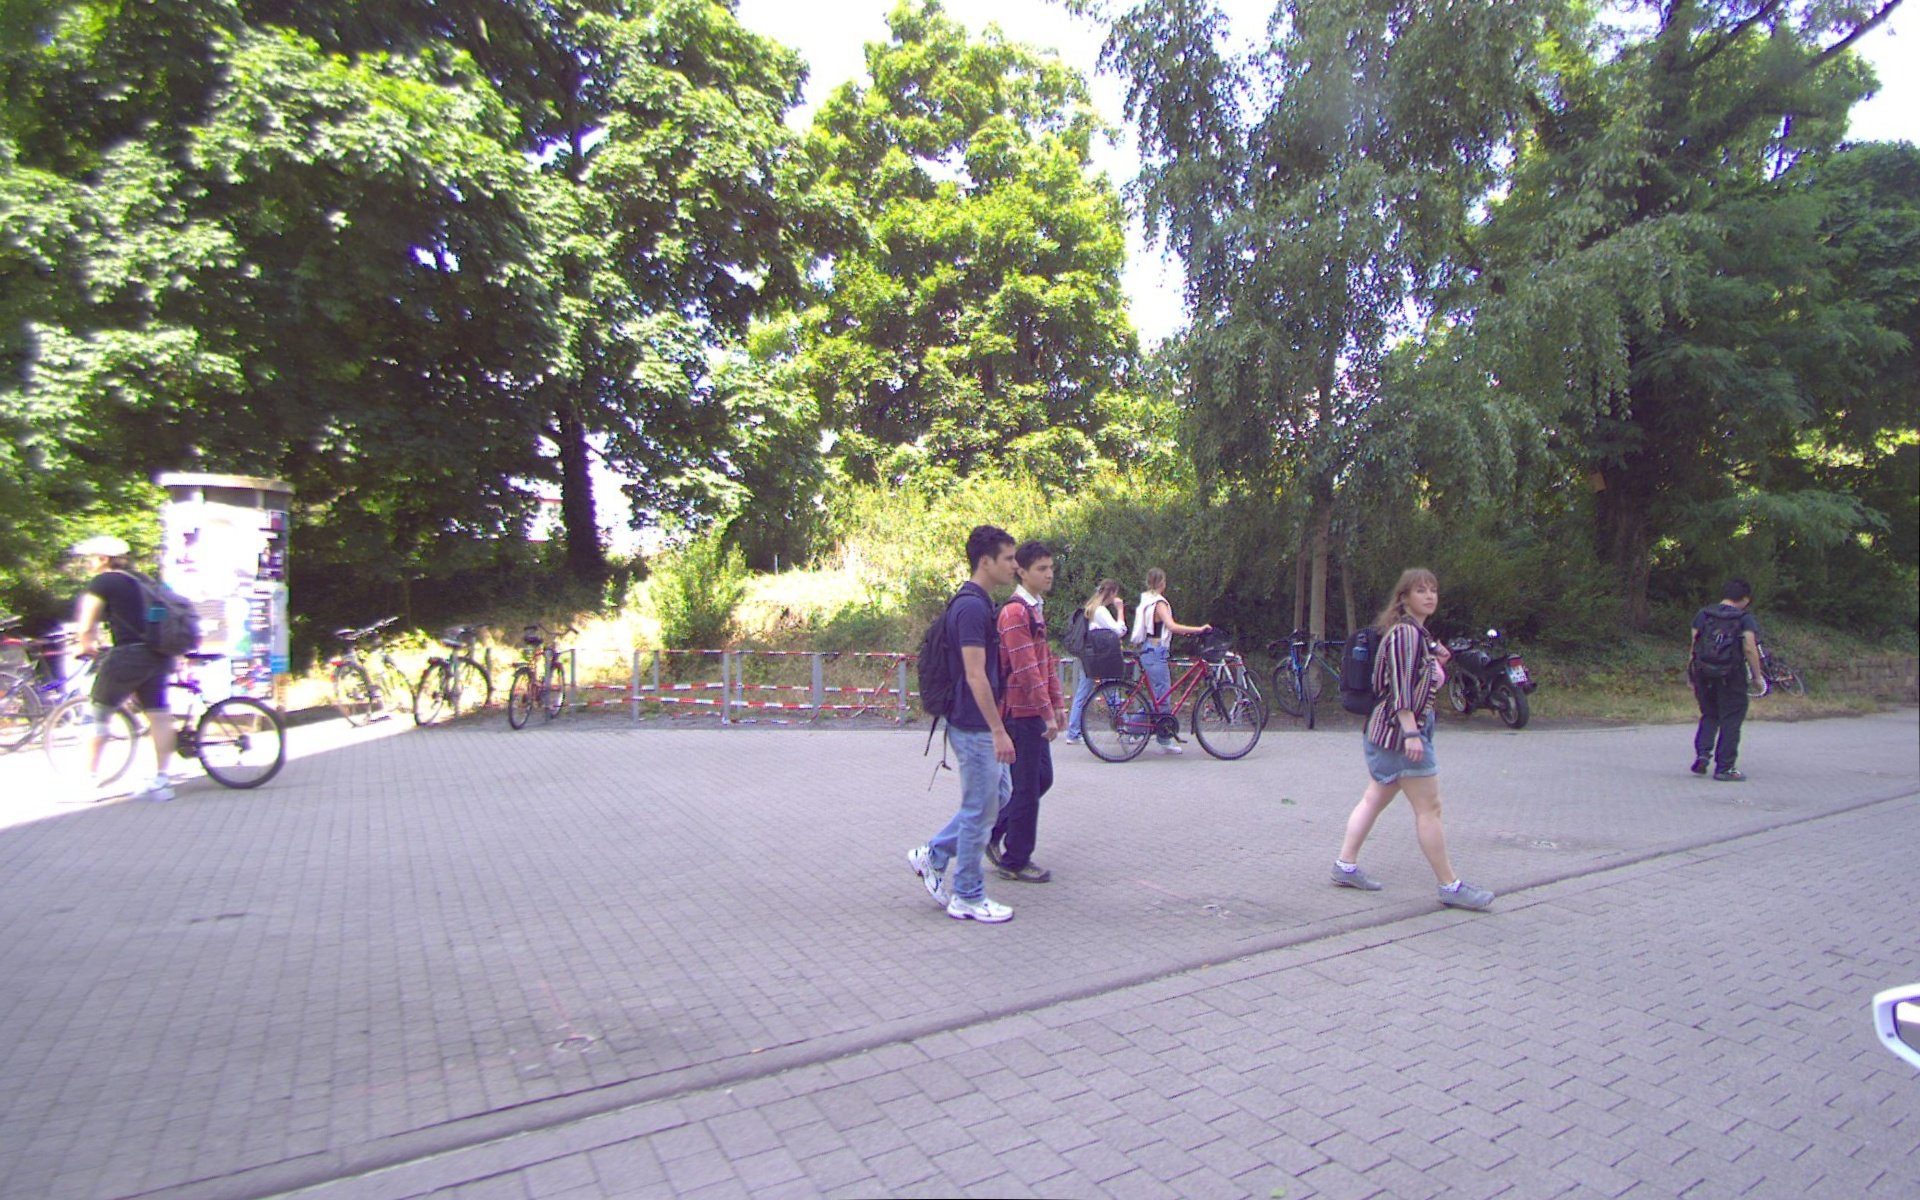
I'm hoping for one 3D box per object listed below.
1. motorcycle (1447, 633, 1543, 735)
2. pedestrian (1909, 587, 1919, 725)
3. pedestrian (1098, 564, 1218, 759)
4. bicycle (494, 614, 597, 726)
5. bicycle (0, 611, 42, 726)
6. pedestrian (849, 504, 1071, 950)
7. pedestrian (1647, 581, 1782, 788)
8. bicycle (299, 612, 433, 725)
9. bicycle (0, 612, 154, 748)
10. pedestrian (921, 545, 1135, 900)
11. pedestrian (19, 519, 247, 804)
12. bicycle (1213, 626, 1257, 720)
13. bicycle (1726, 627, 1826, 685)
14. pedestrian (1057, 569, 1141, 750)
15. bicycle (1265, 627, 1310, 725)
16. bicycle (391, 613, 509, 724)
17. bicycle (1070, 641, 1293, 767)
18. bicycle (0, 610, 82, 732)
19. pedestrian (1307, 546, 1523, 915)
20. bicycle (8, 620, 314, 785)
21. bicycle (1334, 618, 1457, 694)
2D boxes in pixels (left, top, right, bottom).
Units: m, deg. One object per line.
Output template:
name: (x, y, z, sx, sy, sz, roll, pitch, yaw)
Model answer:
motorcycle: (6.647, 1.001, 12.576, 0.464, 1.061, 2.027, 1, 1, 11)
pedestrian: (13.836, 0.786, 13.999, 1.110, 1.897, 0.678, 1, 0, -36)
pedestrian: (1.831, 0.549, 9.373, 0.920, 1.747, 0.676, 0, 0, -9)
bicycle: (-4.589, 0.739, 11.233, 0.465, 1.125, 1.777, 1, 0, -2)
bicycle: (-9.745, 0.672, 9.424, 0.464, 1.125, 1.779, 1, 0, 7)
pedestrian: (0.014, 0.537, 4.558, 0.922, 1.860, 0.686, 0, 0, 3)
pedestrian: (6.777, 0.716, 9.028, 0.894, 1.747, 0.680, 1, 1, -33)
bicycle: (-6.501, 0.708, 11.093, 0.465, 1.125, 1.777, 1, 0, -2)
bicycle: (-8.203, 0.679, 8.881, 0.464, 1.125, 1.779, 1, 0, 12)
pedestrian: (0.342, 0.608, 5.314, 1.043, 1.747, 0.719, 0, 0, 1)
pedestrian: (-5.650, 0.408, 6.906, 1.029, 1.860, 0.614, 1, 0, 0)
bicycle: (3.506, 0.886, 12.750, 0.465, 1.061, 1.700, 1, 0, 18)
bicycle: (13.880, 0.946, 17.088, 1.712, 0.922, 0.421, 2, -1, -17)
pedestrian: (1.410, 0.579, 10.158, 0.673, 1.747, 0.731, 0, 0, 22)
bicycle: (4.117, 0.918, 12.660, 0.465, 1.061, 1.700, 2, 1, 18)
bicycle: (-5.643, 0.715, 11.224, 0.465, 1.125, 1.777, 1, 0, -2)
bicycle: (1.990, 0.933, 9.097, 1.873, 1.061, 0.541, 1, 1, -8)
bicycle: (-9.226, 0.662, 9.251, 0.464, 1.125, 1.779, 1, 0, 12)
pedestrian: (2.329, 0.622, 5.192, 0.720, 1.747, 0.683, 1, 1, -19)
bicycle: (-5.770, 0.729, 7.303, 1.809, 1.125, 0.474, 1, 0, -1)
bicycle: (6.511, 0.840, 15.023, 1.669, 1.061, 0.473, 2, 2, -10)
